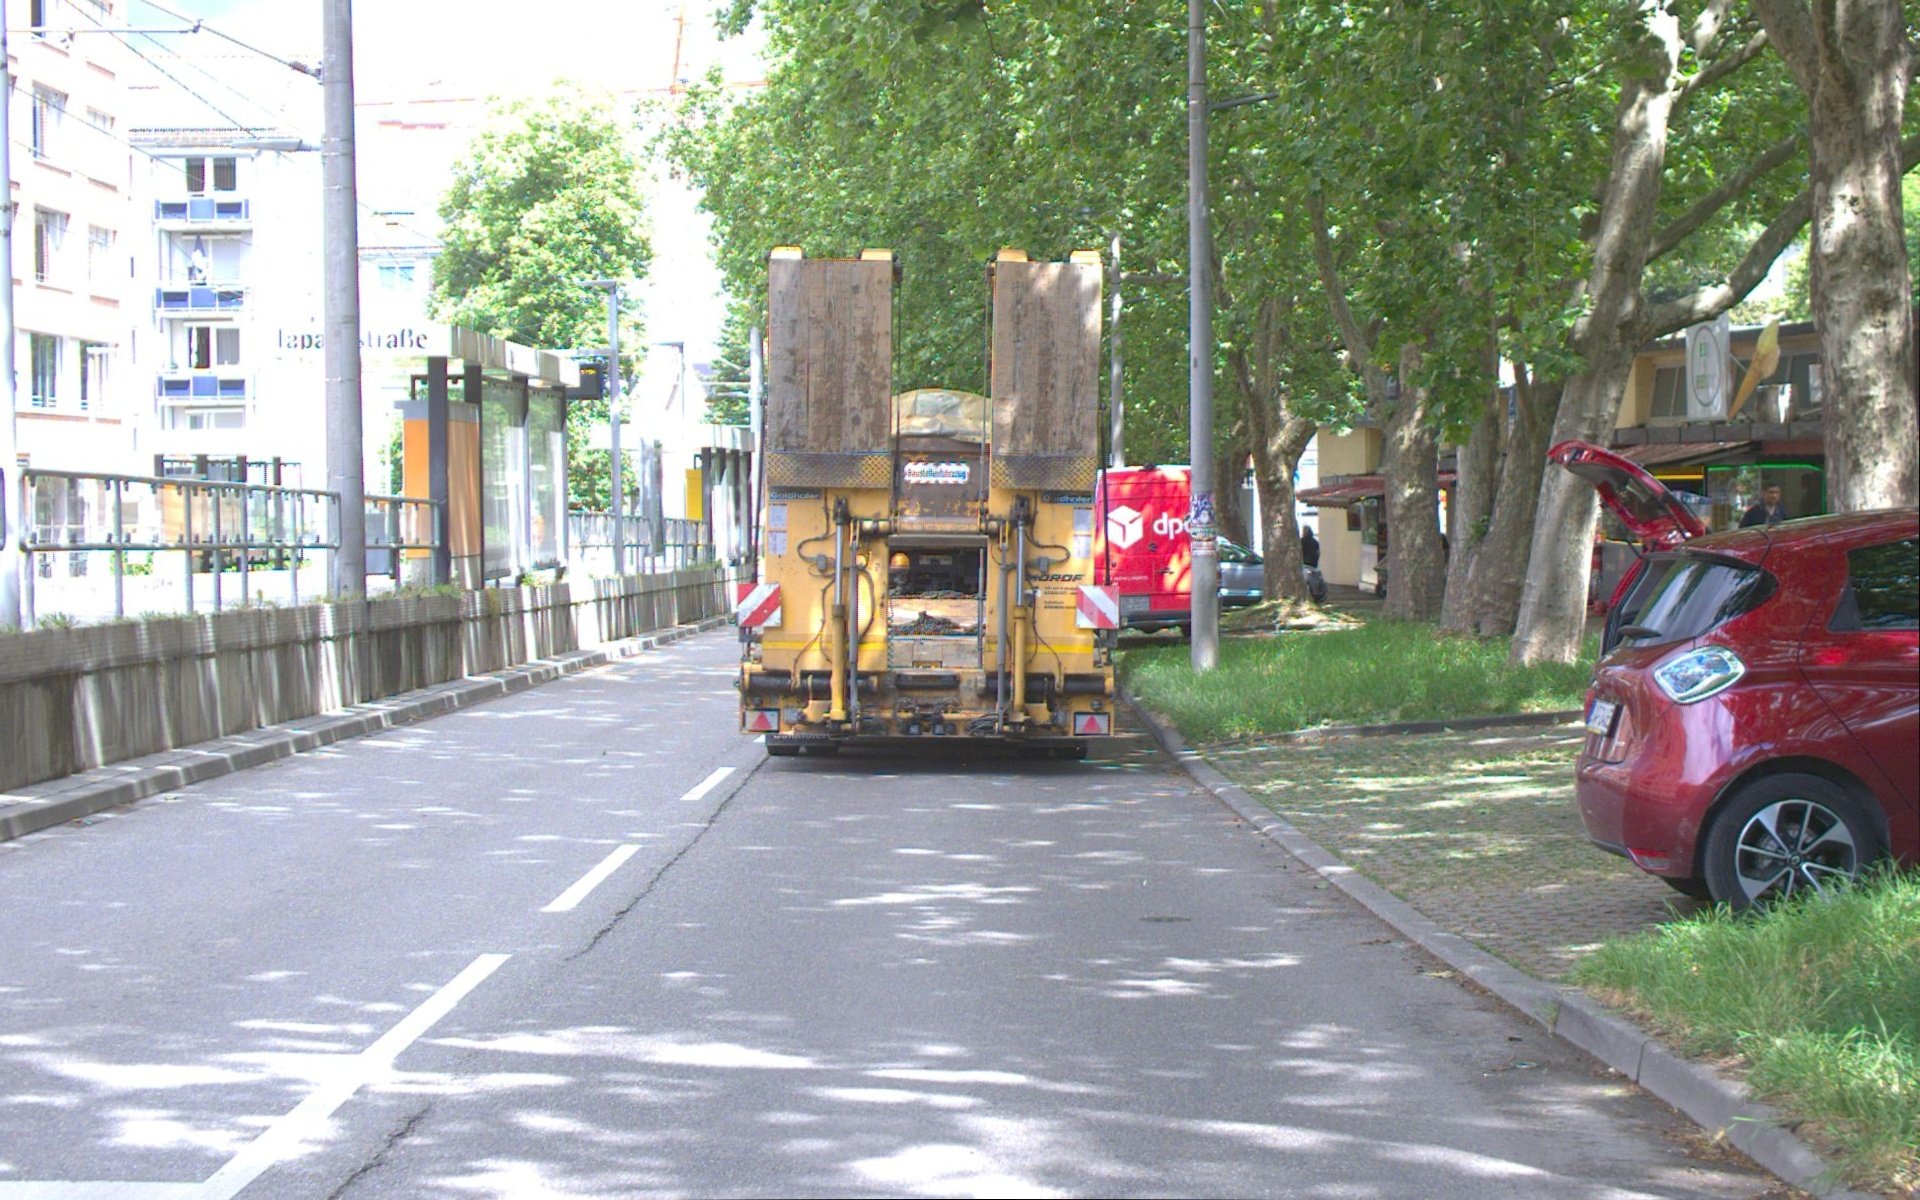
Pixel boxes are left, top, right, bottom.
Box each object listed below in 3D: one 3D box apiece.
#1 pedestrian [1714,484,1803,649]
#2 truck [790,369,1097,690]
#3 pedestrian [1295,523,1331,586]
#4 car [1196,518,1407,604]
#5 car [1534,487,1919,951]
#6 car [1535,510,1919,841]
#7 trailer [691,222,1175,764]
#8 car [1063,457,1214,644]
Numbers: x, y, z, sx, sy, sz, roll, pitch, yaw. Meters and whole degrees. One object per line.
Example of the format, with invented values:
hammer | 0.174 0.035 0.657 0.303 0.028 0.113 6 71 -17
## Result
pedestrian | 9.308 -0.391 40.104 0.743 1.877 0.941 -2 0 0
truck | -0.116 -0.761 37.753 2.989 3.124 7.888 1 1 1
pedestrian | 7.854 -1.004 76.510 0.694 1.387 0.512 -1 1 -3
car | 6.666 -0.761 67.376 3.828 1.557 1.620 -2 1 -6
car | 4.393 0.325 13.261 4.030 1.606 1.730 -4 1 3
car | 4.843 0.306 17.578 3.406 1.509 1.610 -3 1 -3
trailer | -0.166 -0.792 28.217 3.154 3.540 11.097 1 1 0
car | 2.617 -0.745 51.874 1.904 2.572 6.834 -2 1 1
